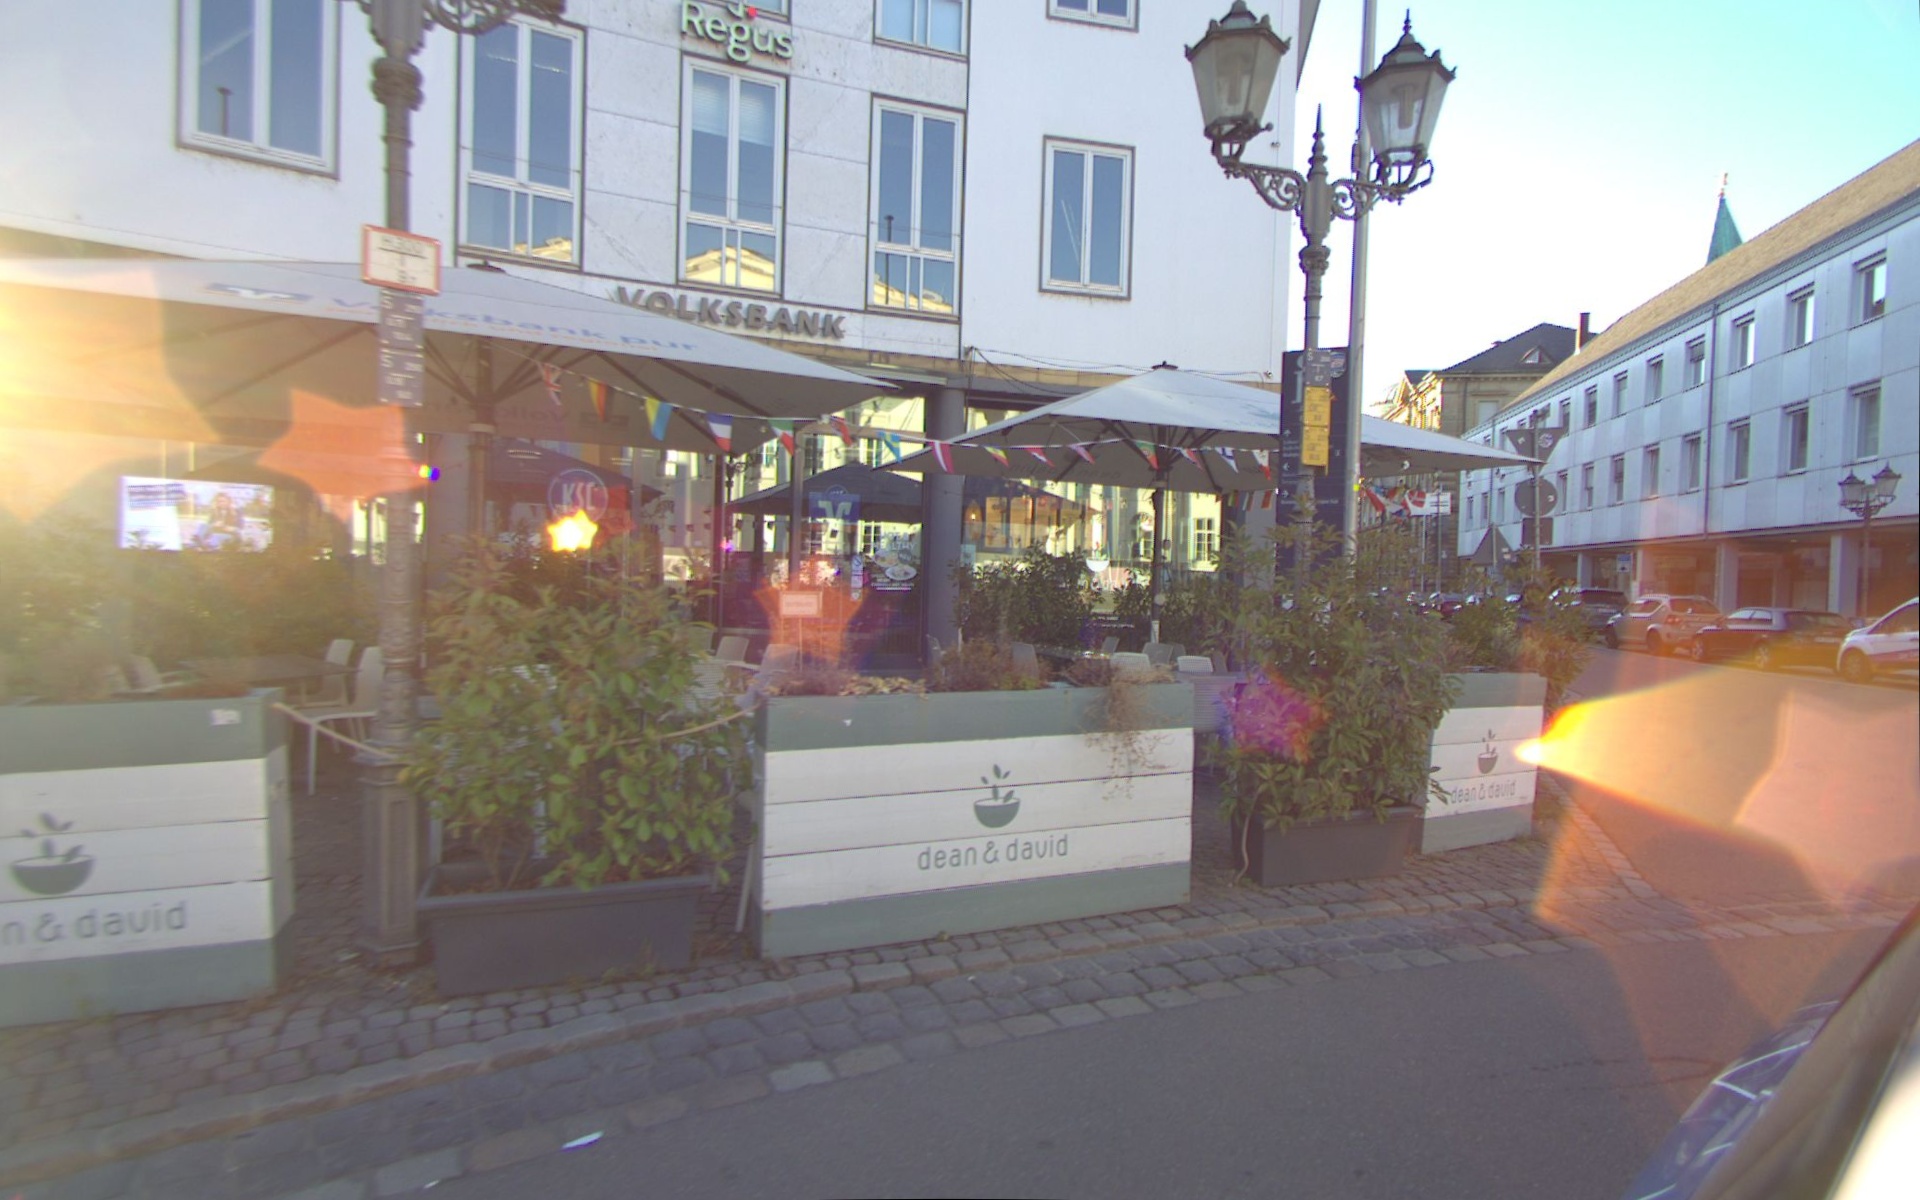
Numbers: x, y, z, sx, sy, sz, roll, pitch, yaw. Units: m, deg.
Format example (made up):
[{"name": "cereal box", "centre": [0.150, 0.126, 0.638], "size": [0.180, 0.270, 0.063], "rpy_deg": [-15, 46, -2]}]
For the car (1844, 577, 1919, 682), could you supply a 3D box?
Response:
[{"name": "car", "centre": [17.996, 0.569, 17.343], "size": [1.987, 1.848, 4.454], "rpy_deg": [2, 2, 6]}]

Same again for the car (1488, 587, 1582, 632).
[{"name": "car", "centre": [22.042, 0.311, 38.958], "size": [1.754, 1.510, 4.316], "rpy_deg": [2, 2, 10]}]

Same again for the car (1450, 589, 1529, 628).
[{"name": "car", "centre": [22.889, 0.327, 43.920], "size": [1.754, 1.510, 4.316], "rpy_deg": [2, 2, 10]}]

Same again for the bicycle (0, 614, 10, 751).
[{"name": "bicycle", "centre": [-7.559, 0.585, 6.825], "size": [1.648, 0.945, 0.473], "rpy_deg": [0, 2, -41]}]

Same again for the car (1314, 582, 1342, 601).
[{"name": "car", "centre": [33.494, -0.803, 92.239], "size": [1.755, 1.687, 4.313], "rpy_deg": [2, 2, 12]}]

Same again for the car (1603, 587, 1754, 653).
[{"name": "car", "centre": [19.232, 0.475, 27.312], "size": [1.754, 1.534, 3.950], "rpy_deg": [2, 2, 10]}]

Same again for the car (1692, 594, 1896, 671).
[{"name": "car", "centre": [18.466, 0.653, 22.671], "size": [1.754, 1.442, 3.950], "rpy_deg": [2, 2, 10]}]

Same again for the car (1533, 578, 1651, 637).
[{"name": "car", "centre": [20.626, 0.176, 33.242], "size": [1.754, 1.749, 4.316], "rpy_deg": [2, 2, 10]}]

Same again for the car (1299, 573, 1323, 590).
[{"name": "car", "centre": [36.167, -1.911, 104.411], "size": [1.755, 1.687, 4.313], "rpy_deg": [2, 2, 12]}]

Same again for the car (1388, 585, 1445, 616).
[{"name": "car", "centre": [24.606, 0.018, 54.669], "size": [1.754, 1.510, 4.316], "rpy_deg": [2, 2, 10]}]

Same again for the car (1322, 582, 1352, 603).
[{"name": "car", "centre": [32.088, -0.668, 86.323], "size": [1.755, 1.687, 4.313], "rpy_deg": [2, 2, 12]}]

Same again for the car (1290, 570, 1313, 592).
[{"name": "car", "centre": [37.227, -2.070, 110.396], "size": [1.755, 2.254, 4.313], "rpy_deg": [2, 2, 12]}]

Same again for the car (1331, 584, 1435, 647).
[{"name": "car", "centre": [11.093, 0.340, 26.794], "size": [1.754, 1.442, 3.948], "rpy_deg": [2, 2, 11]}]

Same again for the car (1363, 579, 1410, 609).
[{"name": "car", "centre": [26.271, -0.390, 62.475], "size": [1.754, 1.687, 4.316], "rpy_deg": [2, 2, 10]}]

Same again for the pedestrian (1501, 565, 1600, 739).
[{"name": "pedestrian", "centre": [6.102, 0.510, 10.498], "size": [0.593, 1.721, 0.712], "rpy_deg": [2, 1, 7]}]

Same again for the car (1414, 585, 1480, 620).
[{"name": "car", "centre": [23.765, 0.075, 49.543], "size": [1.754, 1.510, 4.316], "rpy_deg": [2, 2, 10]}]
